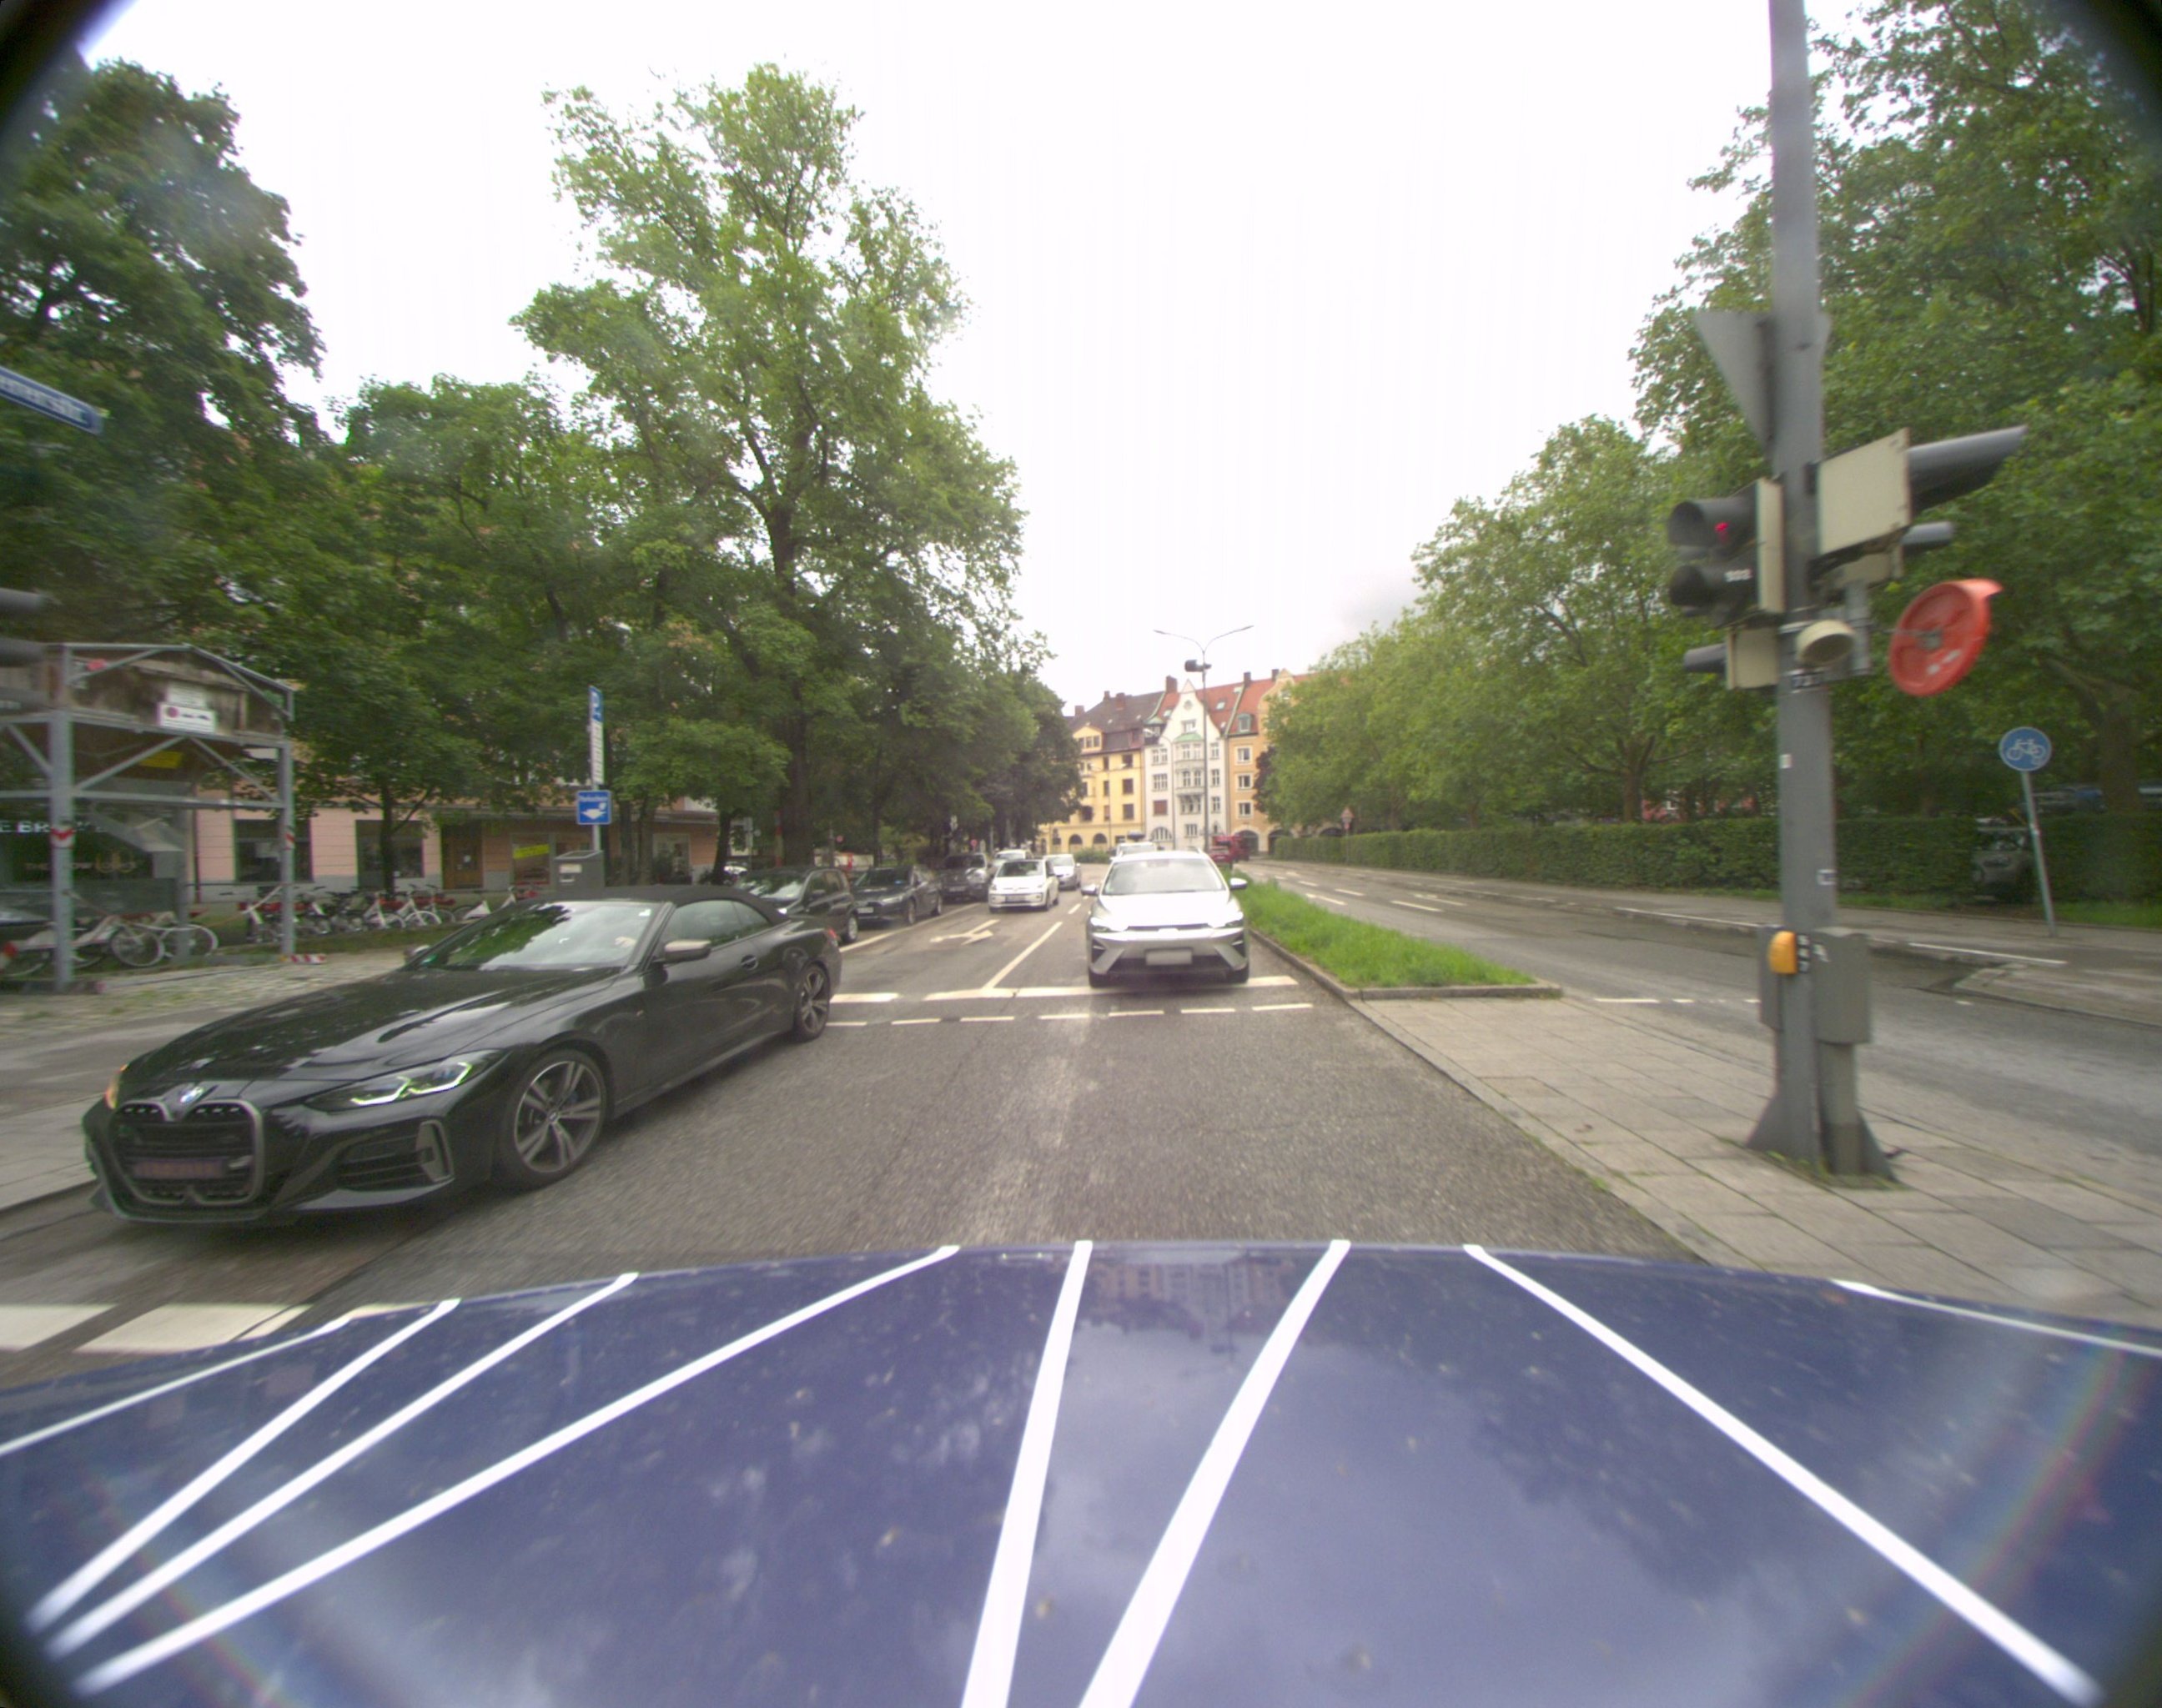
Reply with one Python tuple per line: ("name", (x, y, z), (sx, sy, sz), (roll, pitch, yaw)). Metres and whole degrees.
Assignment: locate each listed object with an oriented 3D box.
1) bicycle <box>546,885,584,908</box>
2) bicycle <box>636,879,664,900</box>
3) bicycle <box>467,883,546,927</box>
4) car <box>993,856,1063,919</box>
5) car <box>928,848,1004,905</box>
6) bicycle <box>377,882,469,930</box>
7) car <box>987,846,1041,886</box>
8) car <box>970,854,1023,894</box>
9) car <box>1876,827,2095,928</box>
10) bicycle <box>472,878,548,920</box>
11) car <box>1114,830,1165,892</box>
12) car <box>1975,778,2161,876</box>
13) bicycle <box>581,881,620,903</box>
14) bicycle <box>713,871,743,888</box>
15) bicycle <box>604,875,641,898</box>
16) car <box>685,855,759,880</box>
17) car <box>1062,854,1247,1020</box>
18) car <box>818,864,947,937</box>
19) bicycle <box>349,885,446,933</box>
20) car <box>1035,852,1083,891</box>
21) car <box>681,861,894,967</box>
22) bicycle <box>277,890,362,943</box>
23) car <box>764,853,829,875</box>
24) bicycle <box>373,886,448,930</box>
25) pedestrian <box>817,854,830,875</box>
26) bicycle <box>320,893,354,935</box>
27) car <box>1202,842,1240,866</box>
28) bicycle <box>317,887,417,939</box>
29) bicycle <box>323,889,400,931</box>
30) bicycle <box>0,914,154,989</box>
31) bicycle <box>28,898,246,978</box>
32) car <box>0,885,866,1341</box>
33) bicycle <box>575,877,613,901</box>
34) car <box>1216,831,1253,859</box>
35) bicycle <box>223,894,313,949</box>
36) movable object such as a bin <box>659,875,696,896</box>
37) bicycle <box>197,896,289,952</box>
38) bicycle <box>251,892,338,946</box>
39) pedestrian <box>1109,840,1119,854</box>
("bicycle", (-17.563, 1.432, 25.866), (1.177, 0.719, 0.319), (-3, 2, 13))
("bicycle", (-15.810, 1.297, 27.866), (1.176, 0.719, 0.319), (-2, 2, 30))
("bicycle", (-13.561, 1.189, 17.965), (1.414, 0.889, 0.312), (-4, 2, -33))
("car", (-1.509, 0.899, 22.326), (1.775, 1.515, 4.206), (-3, 1, -3))
("car", (-3.991, 0.715, 27.101), (1.936, 1.809, 4.553), (-1, 1, 0))
("bicycle", (-14.248, 1.112, 16.488), (1.414, 0.889, 0.312), (-4, 2, -33))
("car", (-3.308, 0.562, 38.337), (1.848, 1.845, 5.025), (-1, 1, 4))
("car", (-3.542, 0.809, 32.396), (1.523, 1.540, 3.663), (-1, 1, 4))
("car", (18.756, 0.419, 15.783), (3.525, 1.753, 1.774), (-3, 2, -19))
("bicycle", (-13.905, 1.095, 18.545), (1.414, 0.889, 0.312), (-4, 2, -33))
("car", (2.461, 0.241, 31.641), (1.912, 2.337, 4.946), (-1, 1, 5))
("car", (29.522, -0.815, 21.360), (5.856, 2.521, 2.000), (-3, 2, 7))
("bicycle", (-17.732, 1.393, 28.057), (0.318, 0.719, 1.180), (-2, 2, 26))
("bicycle", (-16.504, 1.198, 35.498), (1.181, 0.719, 0.318), (-4, 2, -42))
("bicycle", (-15.907, 1.113, 26.378), (0.318, 0.719, 1.180), (-2, 1, 15))
("car", (-25.426, 0.964, 53.855), (4.435, 1.458, 1.863), (-3, 2, 14))
("car", (1.146, 0.837, 9.602), (1.773, 1.515, 4.211), (-2, 1, 12))
("car", (-4.743, 1.046, 18.921), (1.772, 1.452, 4.642), (-1, 1, 2))
("bicycle", (-13.998, 1.119, 15.589), (1.414, 0.889, 0.312), (-2, 1, -22))
("car", (-0.878, 0.694, 32.230), (1.648, 1.521, 3.887), (-1, 1, 3))
("car", (-5.173, 0.978, 14.191), (1.834, 1.540, 4.555), (-1, 1, 5))
("bicycle", (-14.070, 1.156, 14.039), (1.410, 0.889, 0.313), (-3, 2, 11))
("car", (-22.698, 0.795, 60.679), (4.435, 1.458, 1.863), (-3, 2, 14))
("bicycle", (-16.077, 1.280, 18.268), (0.313, 0.889, 1.413), (-3, 1, 10))
("pedestrian", (-19.749, 0.792, 58.280), (0.602, 1.543, 0.644), (-3, 2, 10))
("bicycle", (-16.887, 1.345, 17.249), (1.409, 0.889, 0.314), (-2, 2, 38))
("car", (9.922, 0.020, 54.245), (2.108, 1.628, 4.941), (-1, 0, 4))
("bicycle", (-13.765, 1.126, 14.668), (1.412, 0.889, 0.313), (-3, 2, -10))
("bicycle", (-17.594, 1.352, 18.610), (0.313, 0.889, 1.413), (-3, 1, 10))
("bicycle", (-14.255, 1.349, 10.732), (0.312, 0.888, 1.415), (-2, 0, 30))
("bicycle", (-14.371, 1.262, 11.615), (2.239, 1.010, 0.630), (-3, 2, -6))
("car", (-3.242, 1.046, 5.185), (1.727, 1.381, 4.800), (-1, 1, 6))
("bicycle", (-16.365, 1.174, 25.525), (1.177, 0.719, 0.319), (-3, 2, 13))
("car", (14.970, -0.797, 73.952), (2.105, 2.574, 6.092), (-1, 0, 25))
("bicycle", (-14.199, 1.179, 13.274), (1.410, 0.889, 0.313), (-3, 2, 11))
("movable object such as a bin", (-17.484, 1.357, 32.937), (1.179, 0.867, 0.774), (-1, 1, 12))
("bicycle", (-14.270, 1.190, 12.944), (1.410, 0.889, 0.313), (-3, 2, 11))
("bicycle", (-14.136, 1.168, 13.653), (1.410, 0.889, 0.313), (-3, 2, 11))
("pedestrian", (4.650, -0.987, 108.510), (1.005, 2.002, 0.880), (-2, 2, 38))
